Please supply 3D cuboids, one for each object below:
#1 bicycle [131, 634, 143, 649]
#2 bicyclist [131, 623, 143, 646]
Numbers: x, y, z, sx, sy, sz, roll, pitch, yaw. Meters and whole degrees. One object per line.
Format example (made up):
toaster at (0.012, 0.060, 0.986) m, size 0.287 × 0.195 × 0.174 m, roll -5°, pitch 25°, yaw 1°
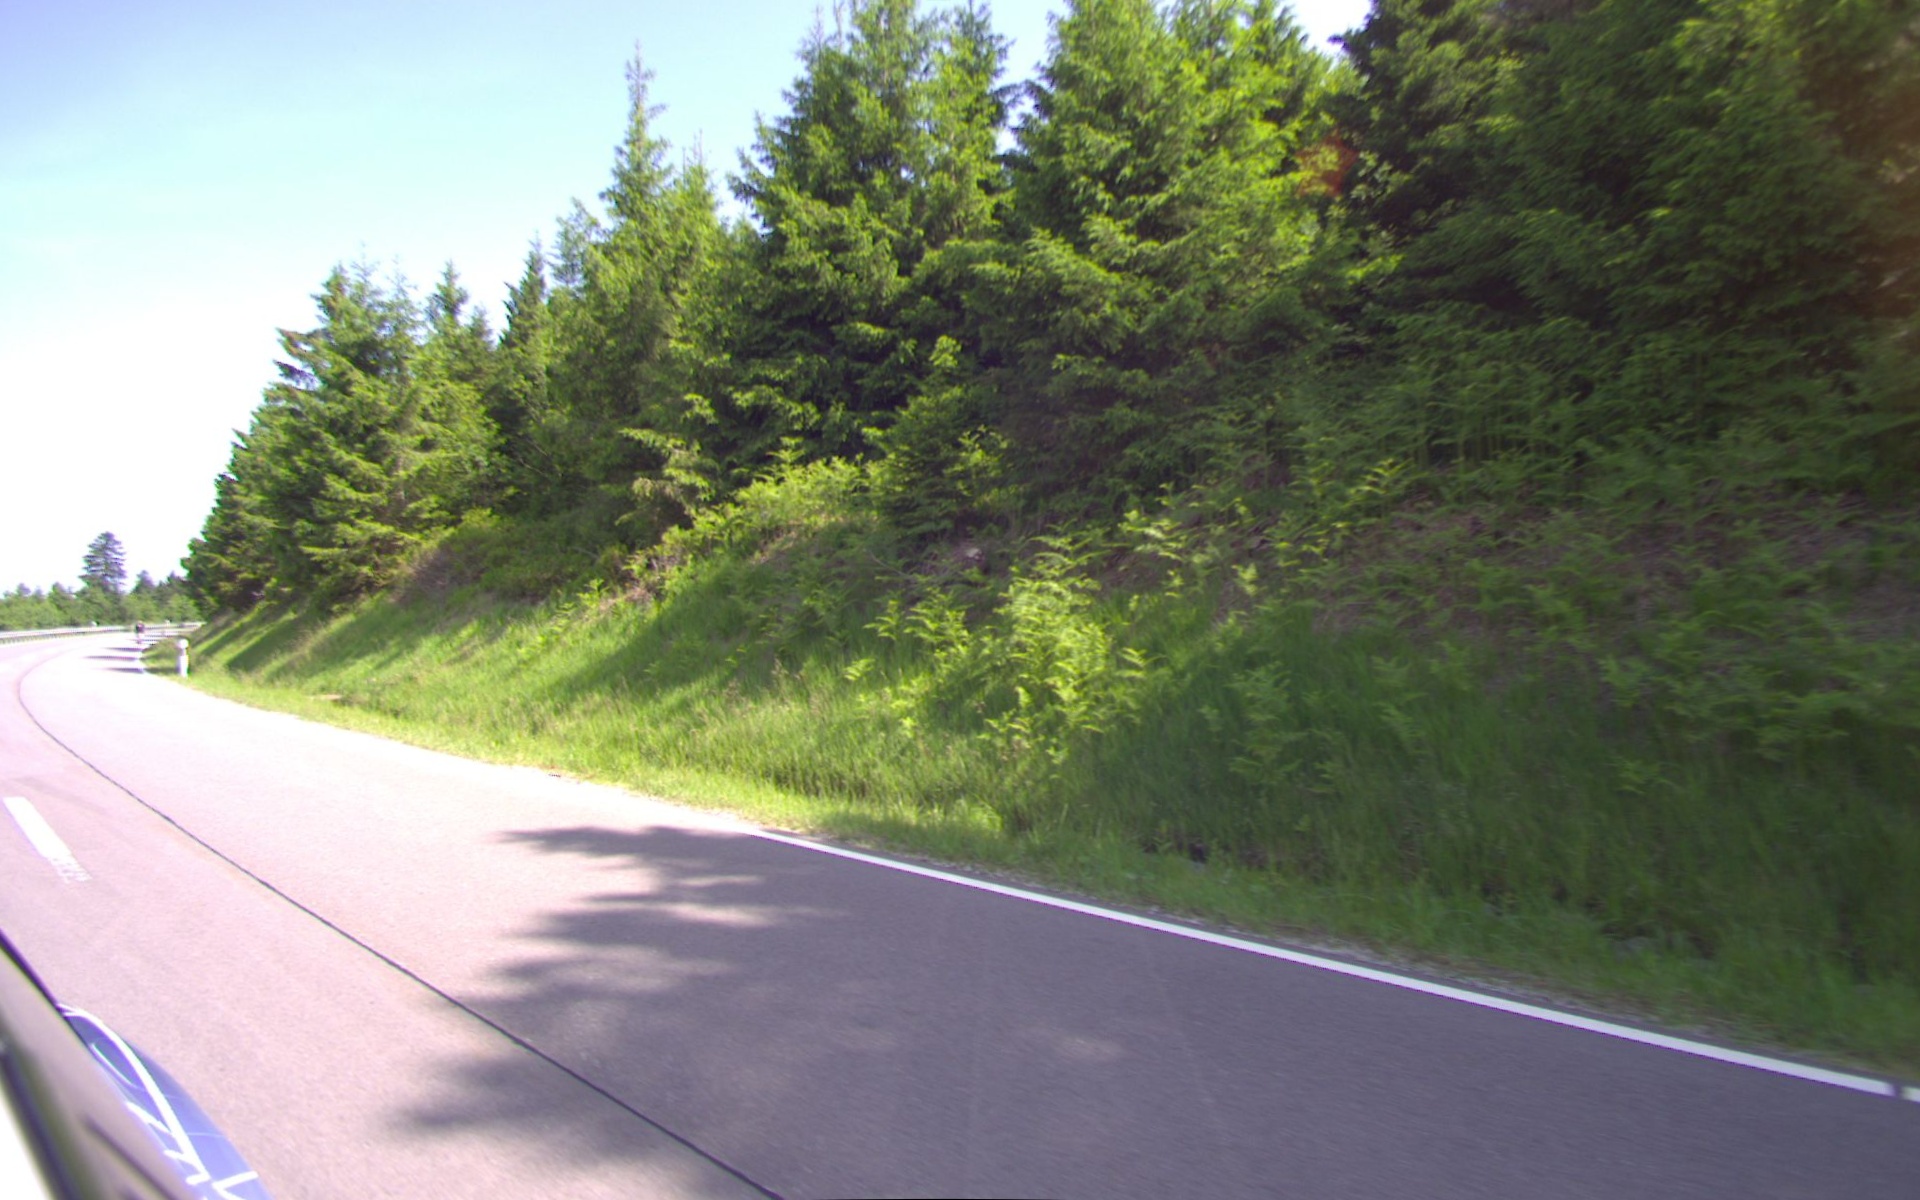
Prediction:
bicycle at (-50.908, 2.556, 62.584) m, size 0.546 × 0.893 × 2.066 m, roll 2°, pitch -2°, yaw -39°
bicyclist at (-50.949, 2.139, 62.689) m, size 0.535 × 1.462 × 0.985 m, roll 2°, pitch -2°, yaw -39°
